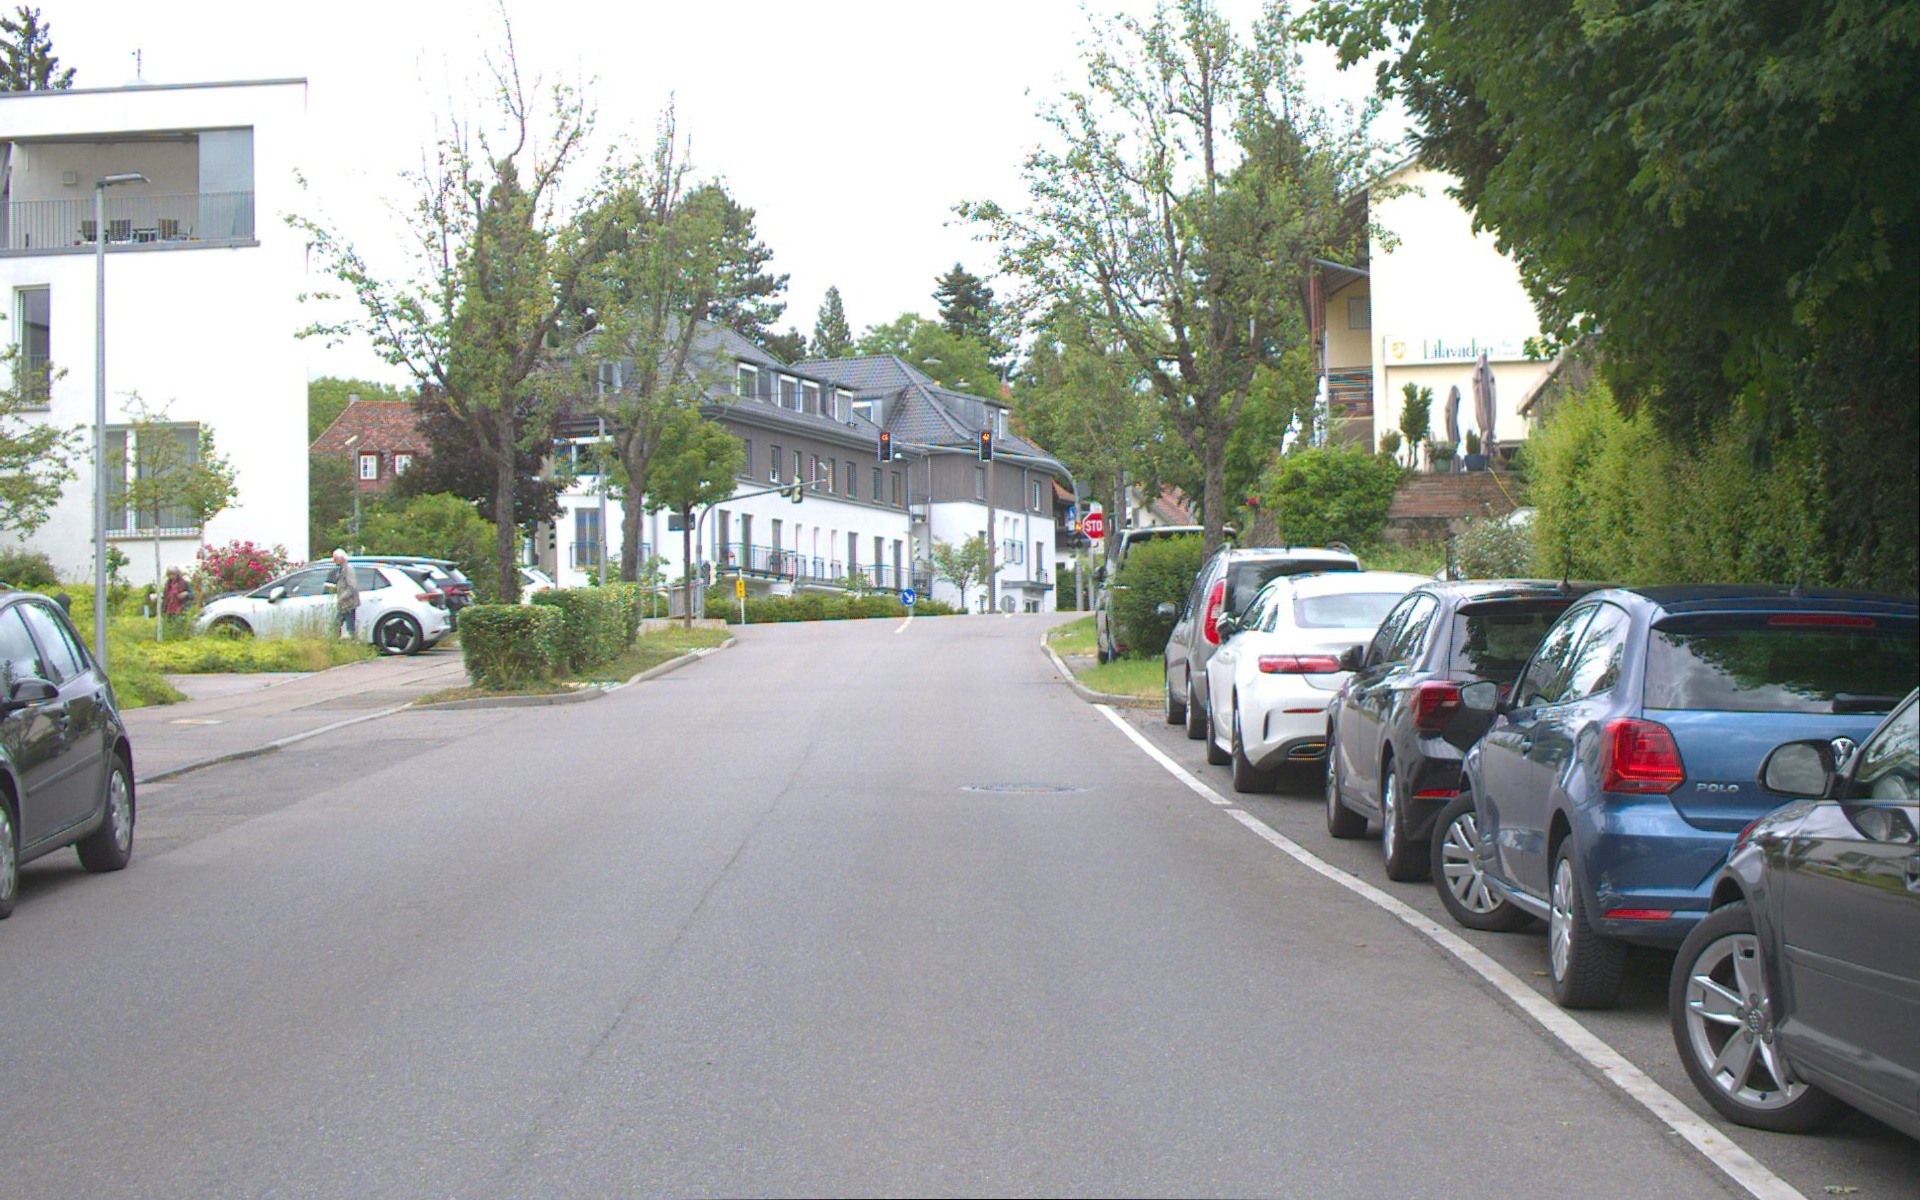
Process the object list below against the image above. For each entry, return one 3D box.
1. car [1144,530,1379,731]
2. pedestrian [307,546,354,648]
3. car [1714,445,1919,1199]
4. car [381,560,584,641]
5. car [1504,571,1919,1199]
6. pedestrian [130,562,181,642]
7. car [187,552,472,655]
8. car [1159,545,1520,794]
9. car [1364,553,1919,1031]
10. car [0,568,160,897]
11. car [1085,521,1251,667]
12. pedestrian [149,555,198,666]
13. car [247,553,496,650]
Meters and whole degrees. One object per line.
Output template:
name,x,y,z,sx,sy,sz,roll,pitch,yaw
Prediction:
car,2.573,0.235,30.113,1.717,1.627,3.928,1,0,0
pedestrian,-10.174,-0.048,55.604,0.593,1.635,0.565,-2,0,2
car,2.445,0.572,3.376,2.000,1.603,4.759,-2,1,-4
car,-10.621,0.017,76.694,4.259,1.618,2.014,-2,-1,-2
car,2.686,0.657,8.046,1.809,1.447,4.379,-2,0,-4
pedestrian,-12.990,0.031,55.505,0.607,1.279,0.899,0,0,0
car,-10.567,0.044,57.849,4.386,1.561,2.066,-2,1,-1
car,2.496,0.396,23.803,1.993,1.486,5.004,-2,1,1
car,2.617,0.592,13.022,1.697,1.503,4.160,1,1,0
car,-5.249,0.611,16.317,1.850,1.464,4.683,-2,1,-1
car,2.741,-0.098,46.411,1.936,1.831,5.219,-1,0,1
pedestrian,-11.980,0.162,52.361,0.589,1.676,0.519,-1,0,2
car,-10.314,0.019,60.469,3.987,1.648,2.008,0,0,1
